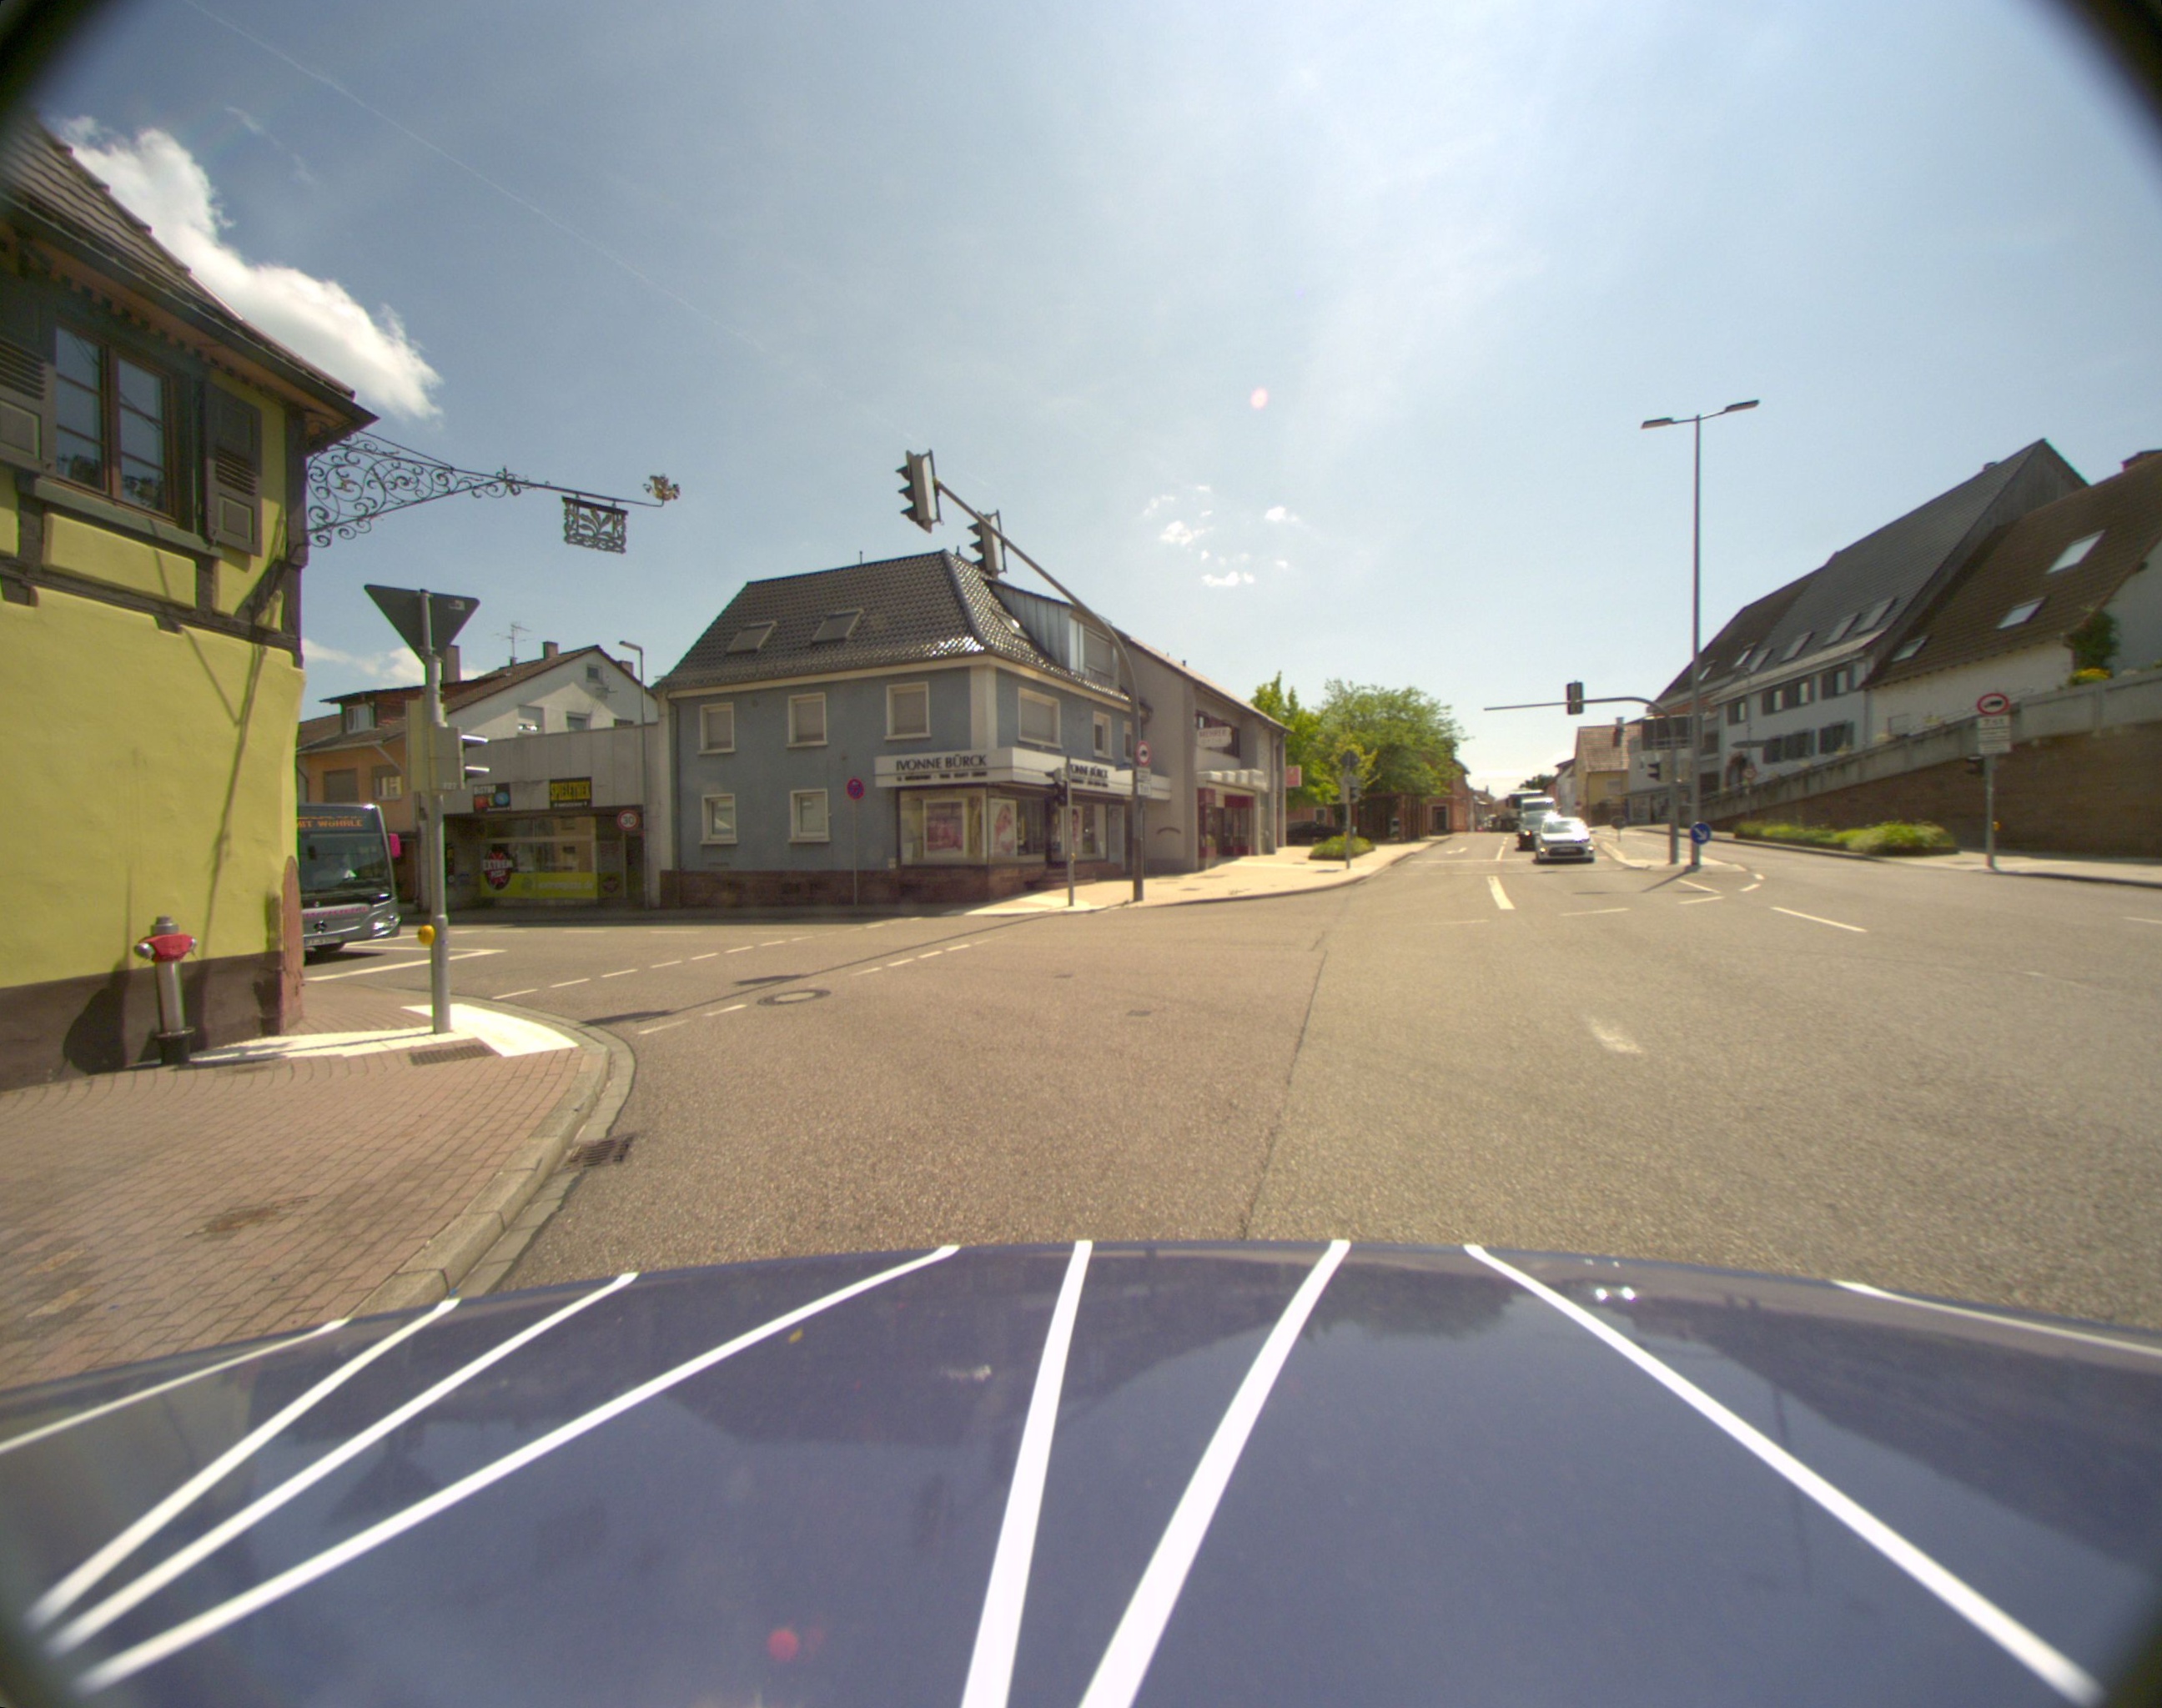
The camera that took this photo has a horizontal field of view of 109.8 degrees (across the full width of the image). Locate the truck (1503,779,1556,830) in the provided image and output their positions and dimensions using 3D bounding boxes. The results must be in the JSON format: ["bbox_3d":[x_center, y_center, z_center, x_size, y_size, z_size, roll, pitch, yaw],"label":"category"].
[{"bbox_3d":[34.247,-3.693,58.165,2.843,3.550,5.476,-1,1,23],"label":"truck"}]

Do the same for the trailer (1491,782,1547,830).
[{"bbox_3d":[36.971,-3.871,64.437,2.833,3.550,10.982,-1,1,23],"label":"trailer"}]

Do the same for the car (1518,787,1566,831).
[{"bbox_3d":[29.617,-2.836,48.949,2.171,2.549,4.832,-1,1,26],"label":"car"}]

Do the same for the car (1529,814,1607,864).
[{"bbox_3d":[16.745,-0.531,26.311,1.722,1.541,4.310,-2,1,26],"label":"car"}]

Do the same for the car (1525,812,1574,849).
[{"bbox_3d":[21.242,-1.069,34.452,1.721,1.541,4.311,-2,1,32],"label":"car"}]

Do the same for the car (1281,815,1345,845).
[{"bbox_3d":[15.069,-1.532,49.268,3.754,1.701,1.727,-3,1,23],"label":"car"}]

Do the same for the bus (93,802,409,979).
[{"bbox_3d":[-16.970,0.720,15.419,7.354,3.008,2.002,-2,4,25],"label":"bus"}]

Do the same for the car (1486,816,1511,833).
[{"bbox_3d":[44.787,-3.139,81.545,2.008,1.621,4.585,-1,1,24],"label":"car"}]
